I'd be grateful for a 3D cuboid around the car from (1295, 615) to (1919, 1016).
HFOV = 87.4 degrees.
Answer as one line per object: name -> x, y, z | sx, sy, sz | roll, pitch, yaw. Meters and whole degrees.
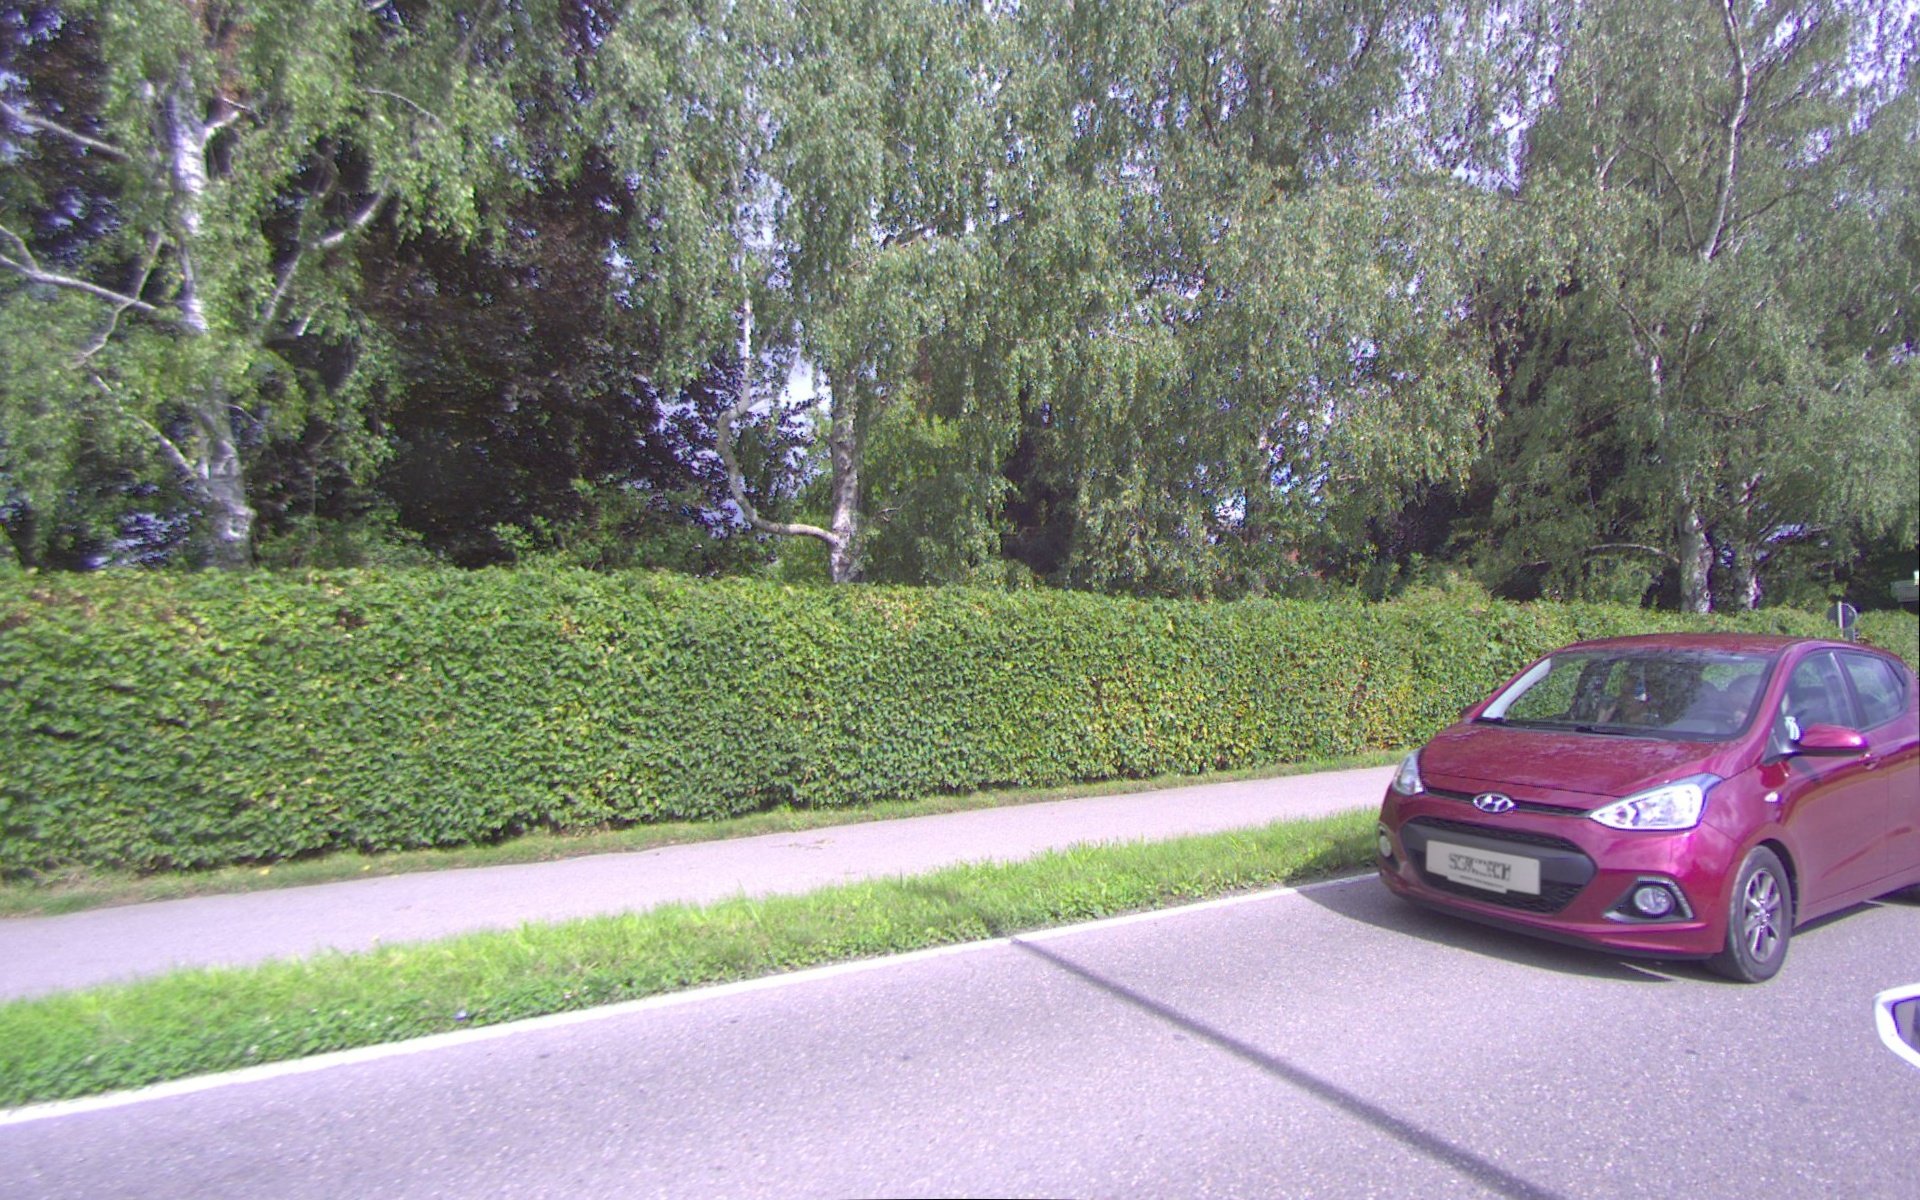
car -> 3.894, 0.858, 5.525 | 3.954, 1.490, 1.732 | 1, -2, -31
